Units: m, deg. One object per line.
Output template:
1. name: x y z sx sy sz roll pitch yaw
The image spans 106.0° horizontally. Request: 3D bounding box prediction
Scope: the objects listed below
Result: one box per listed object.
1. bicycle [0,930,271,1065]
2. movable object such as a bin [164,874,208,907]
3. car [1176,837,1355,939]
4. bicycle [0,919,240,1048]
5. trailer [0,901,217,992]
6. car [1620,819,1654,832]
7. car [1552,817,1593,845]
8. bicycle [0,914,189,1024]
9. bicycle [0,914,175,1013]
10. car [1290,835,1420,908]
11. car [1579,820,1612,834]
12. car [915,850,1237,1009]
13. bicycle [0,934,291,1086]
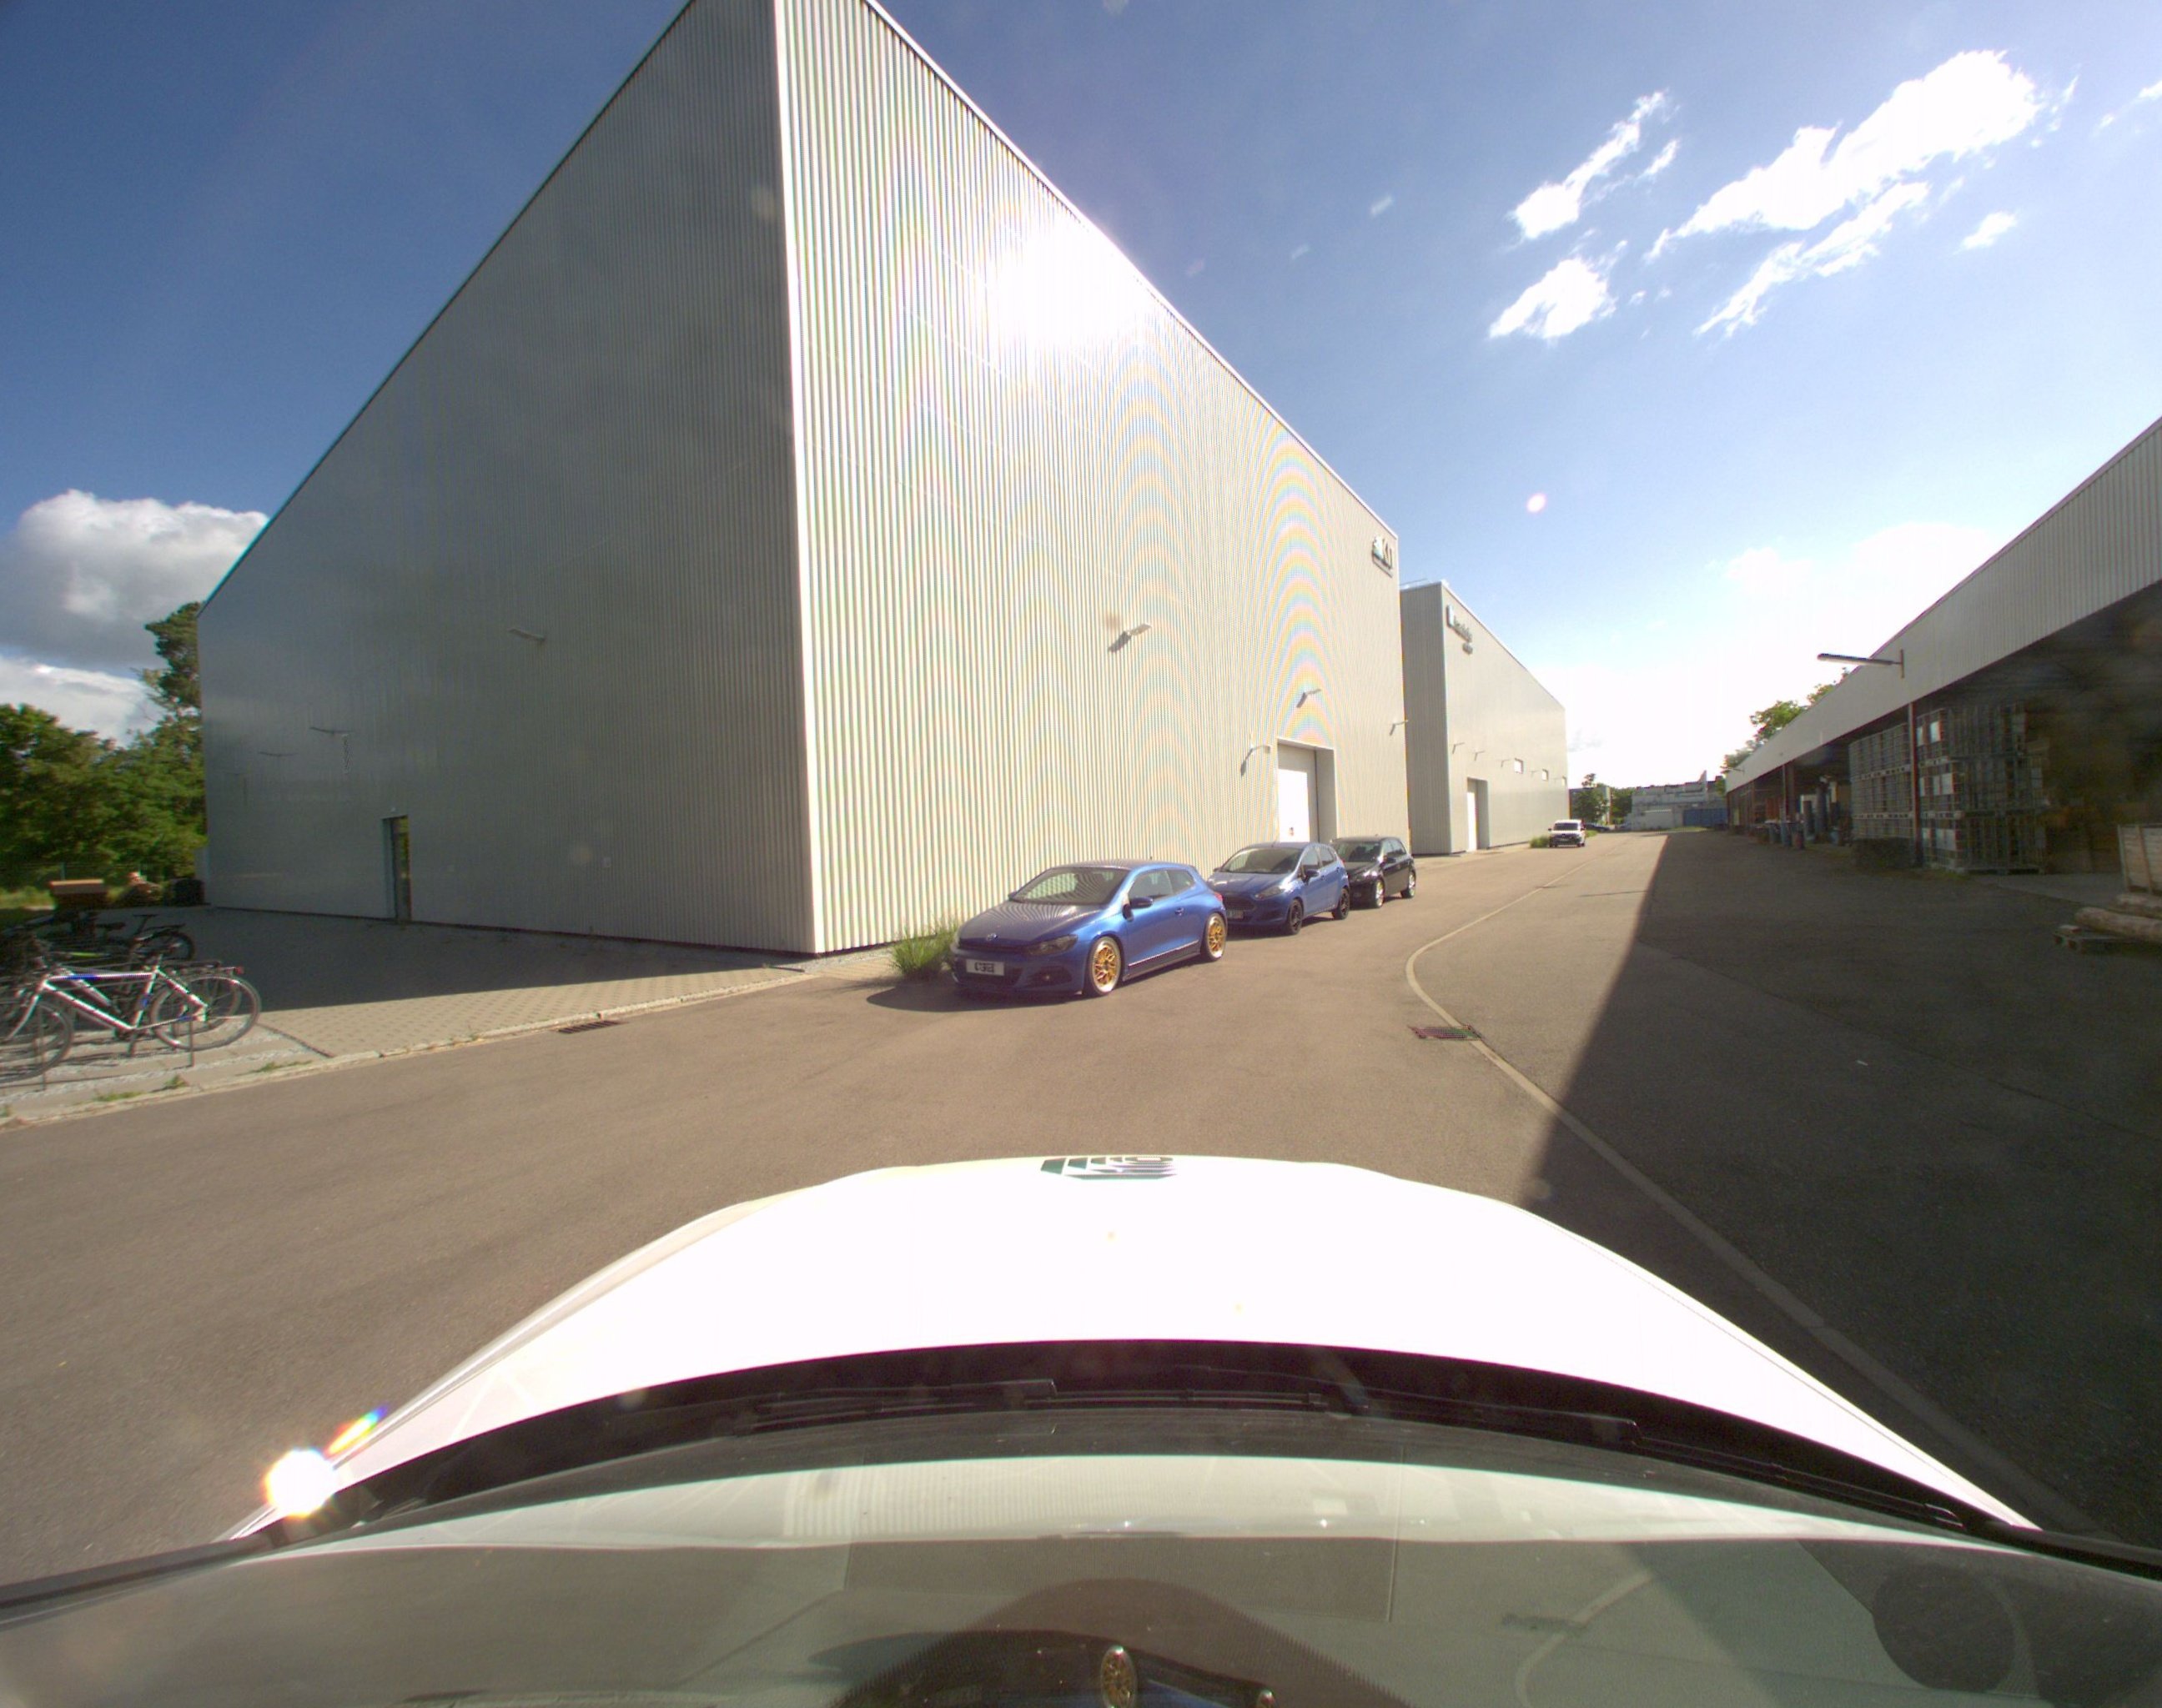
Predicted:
1. bicycle: -9.291 1.346 7.929 0.428 0.978 1.902 -2 1 35
2. movable object such as a bin: -49.201 1.992 44.739 2.805 1.656 1.376 -2 1 38
3. car: 3.378 0.476 14.377 1.732 1.473 3.923 1 2 35
4. bicycle: -10.374 1.336 8.665 0.428 1.082 1.902 -2 1 35
5. trailer: -16.673 1.512 13.703 1.230 1.199 2.737 -2 1 35
6. car: 80.995 -4.154 118.651 4.044 1.775 1.913 -2 1 35
7. car: 32.025 -1.514 53.065 1.689 1.756 4.326 1 2 39
8. bicycle: -12.457 1.397 10.024 0.428 1.126 1.902 -2 1 35
9. bicycle: -13.572 1.450 10.871 0.428 1.104 1.902 -2 1 35
10. car: 6.267 0.302 18.365 1.732 1.418 3.923 1 2 35
11. car: 77.498 -4.045 122.680 4.044 1.775 1.913 -2 1 35
12. car: 0.179 0.718 9.820 1.732 1.384 4.196 -2 1 35
13. bicycle: -8.280 1.308 7.106 0.428 0.978 1.902 -2 1 35
